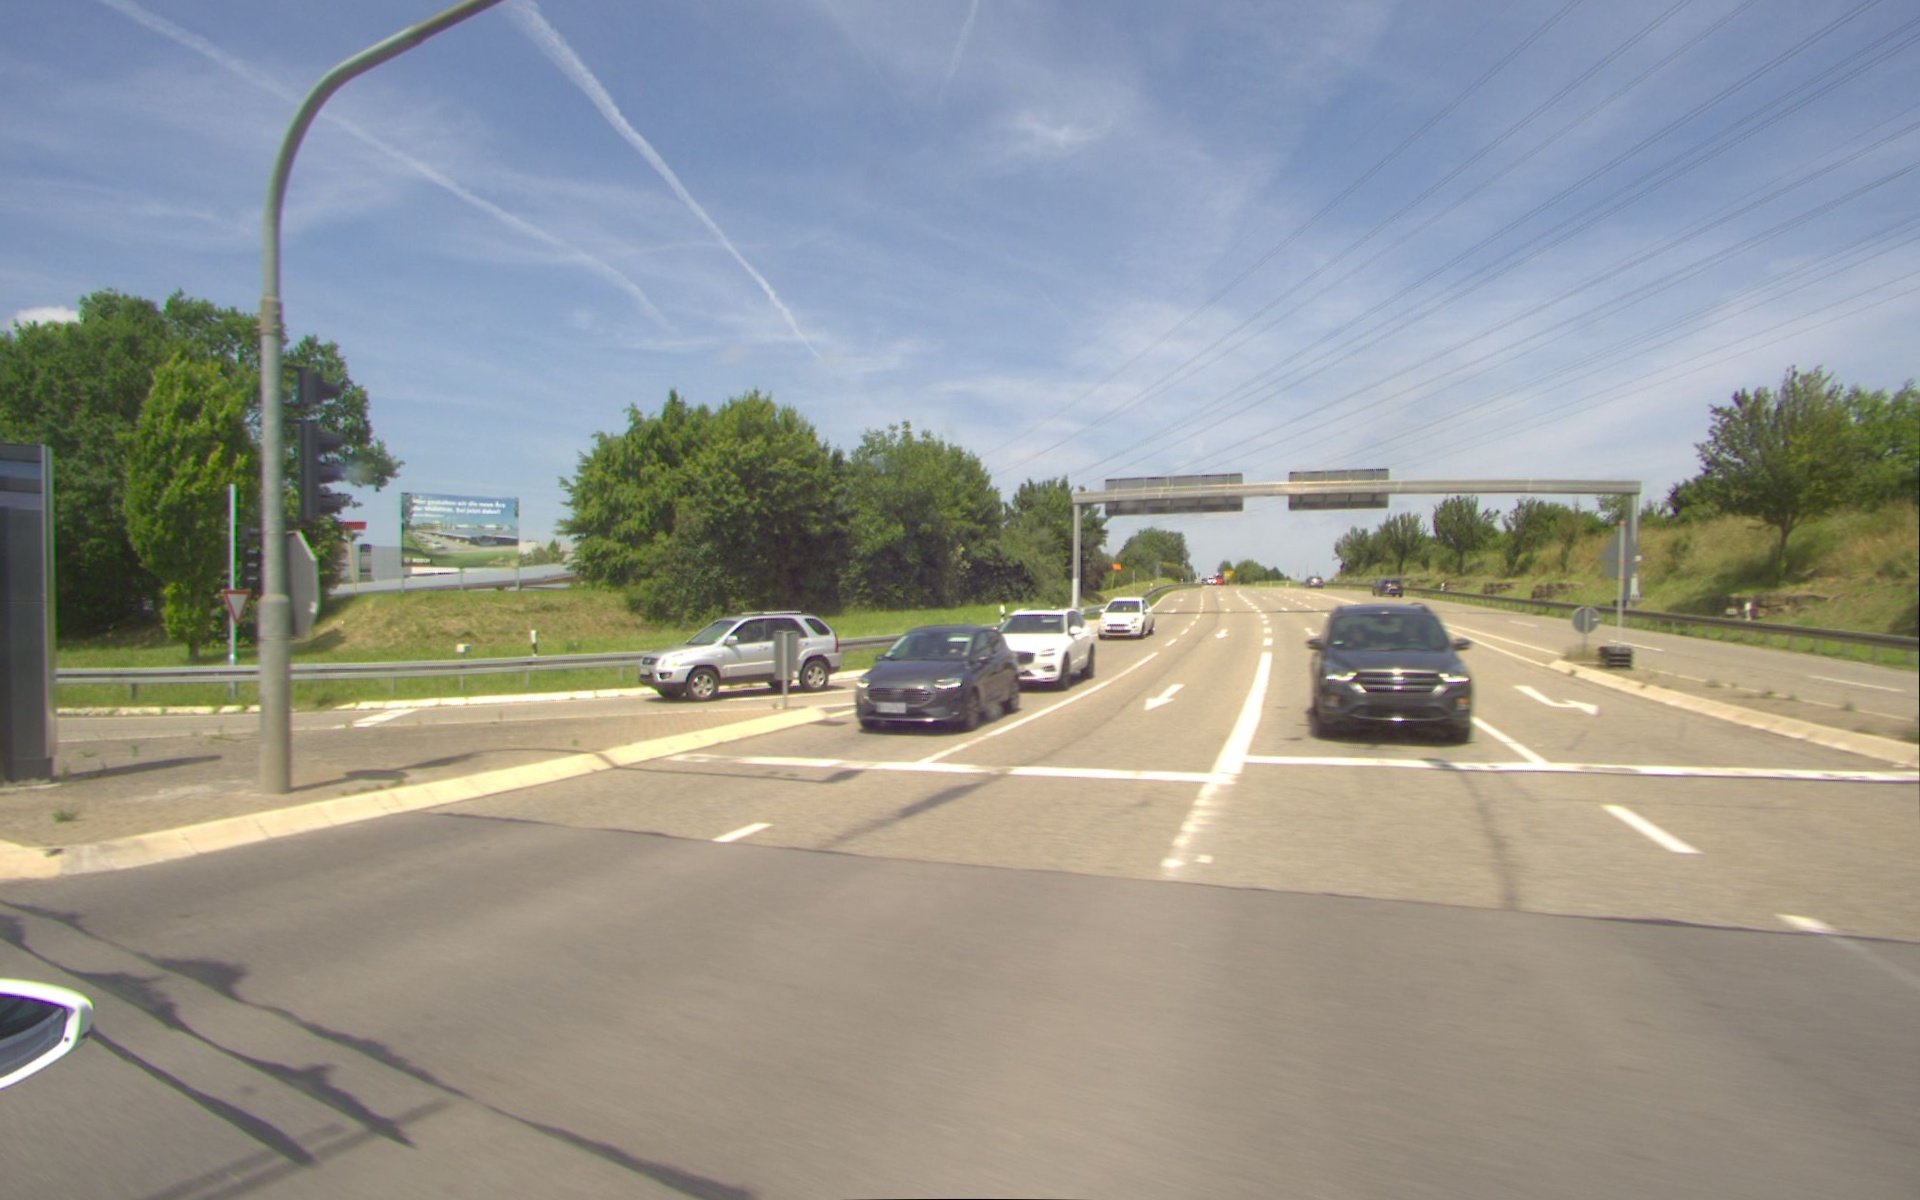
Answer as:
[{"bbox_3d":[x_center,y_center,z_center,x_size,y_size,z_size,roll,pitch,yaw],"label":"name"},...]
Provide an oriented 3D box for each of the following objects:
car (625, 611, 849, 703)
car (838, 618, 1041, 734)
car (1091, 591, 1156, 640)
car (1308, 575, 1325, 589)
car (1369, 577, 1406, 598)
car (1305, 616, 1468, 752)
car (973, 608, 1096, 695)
[{"bbox_3d":[-4.679,1.124,21.373,4.323,1.677,1.821,-1,1,-40],"label":"car"},{"bbox_3d":[-0.167,1.084,15.429,1.687,1.530,3.991,-1,-2,22],"label":"car"},{"bbox_3d":[6.248,0.546,37.934,1.750,1.622,3.989,-1,2,19],"label":"car"},{"bbox_3d":[44.416,-2.274,124.859,1.719,1.554,4.289,1,3,16],"label":"car"},{"bbox_3d":[34.857,-1.025,81.752,1.718,1.554,4.293,1,3,10],"label":"car"},{"bbox_3d":[5.661,1.015,13.731,1.686,1.530,4.365,-1,-1,19],"label":"car"},{"bbox_3d":[1.751,1.049,21.984,1.748,1.613,4.364,-1,1,17],"label":"car"}]
